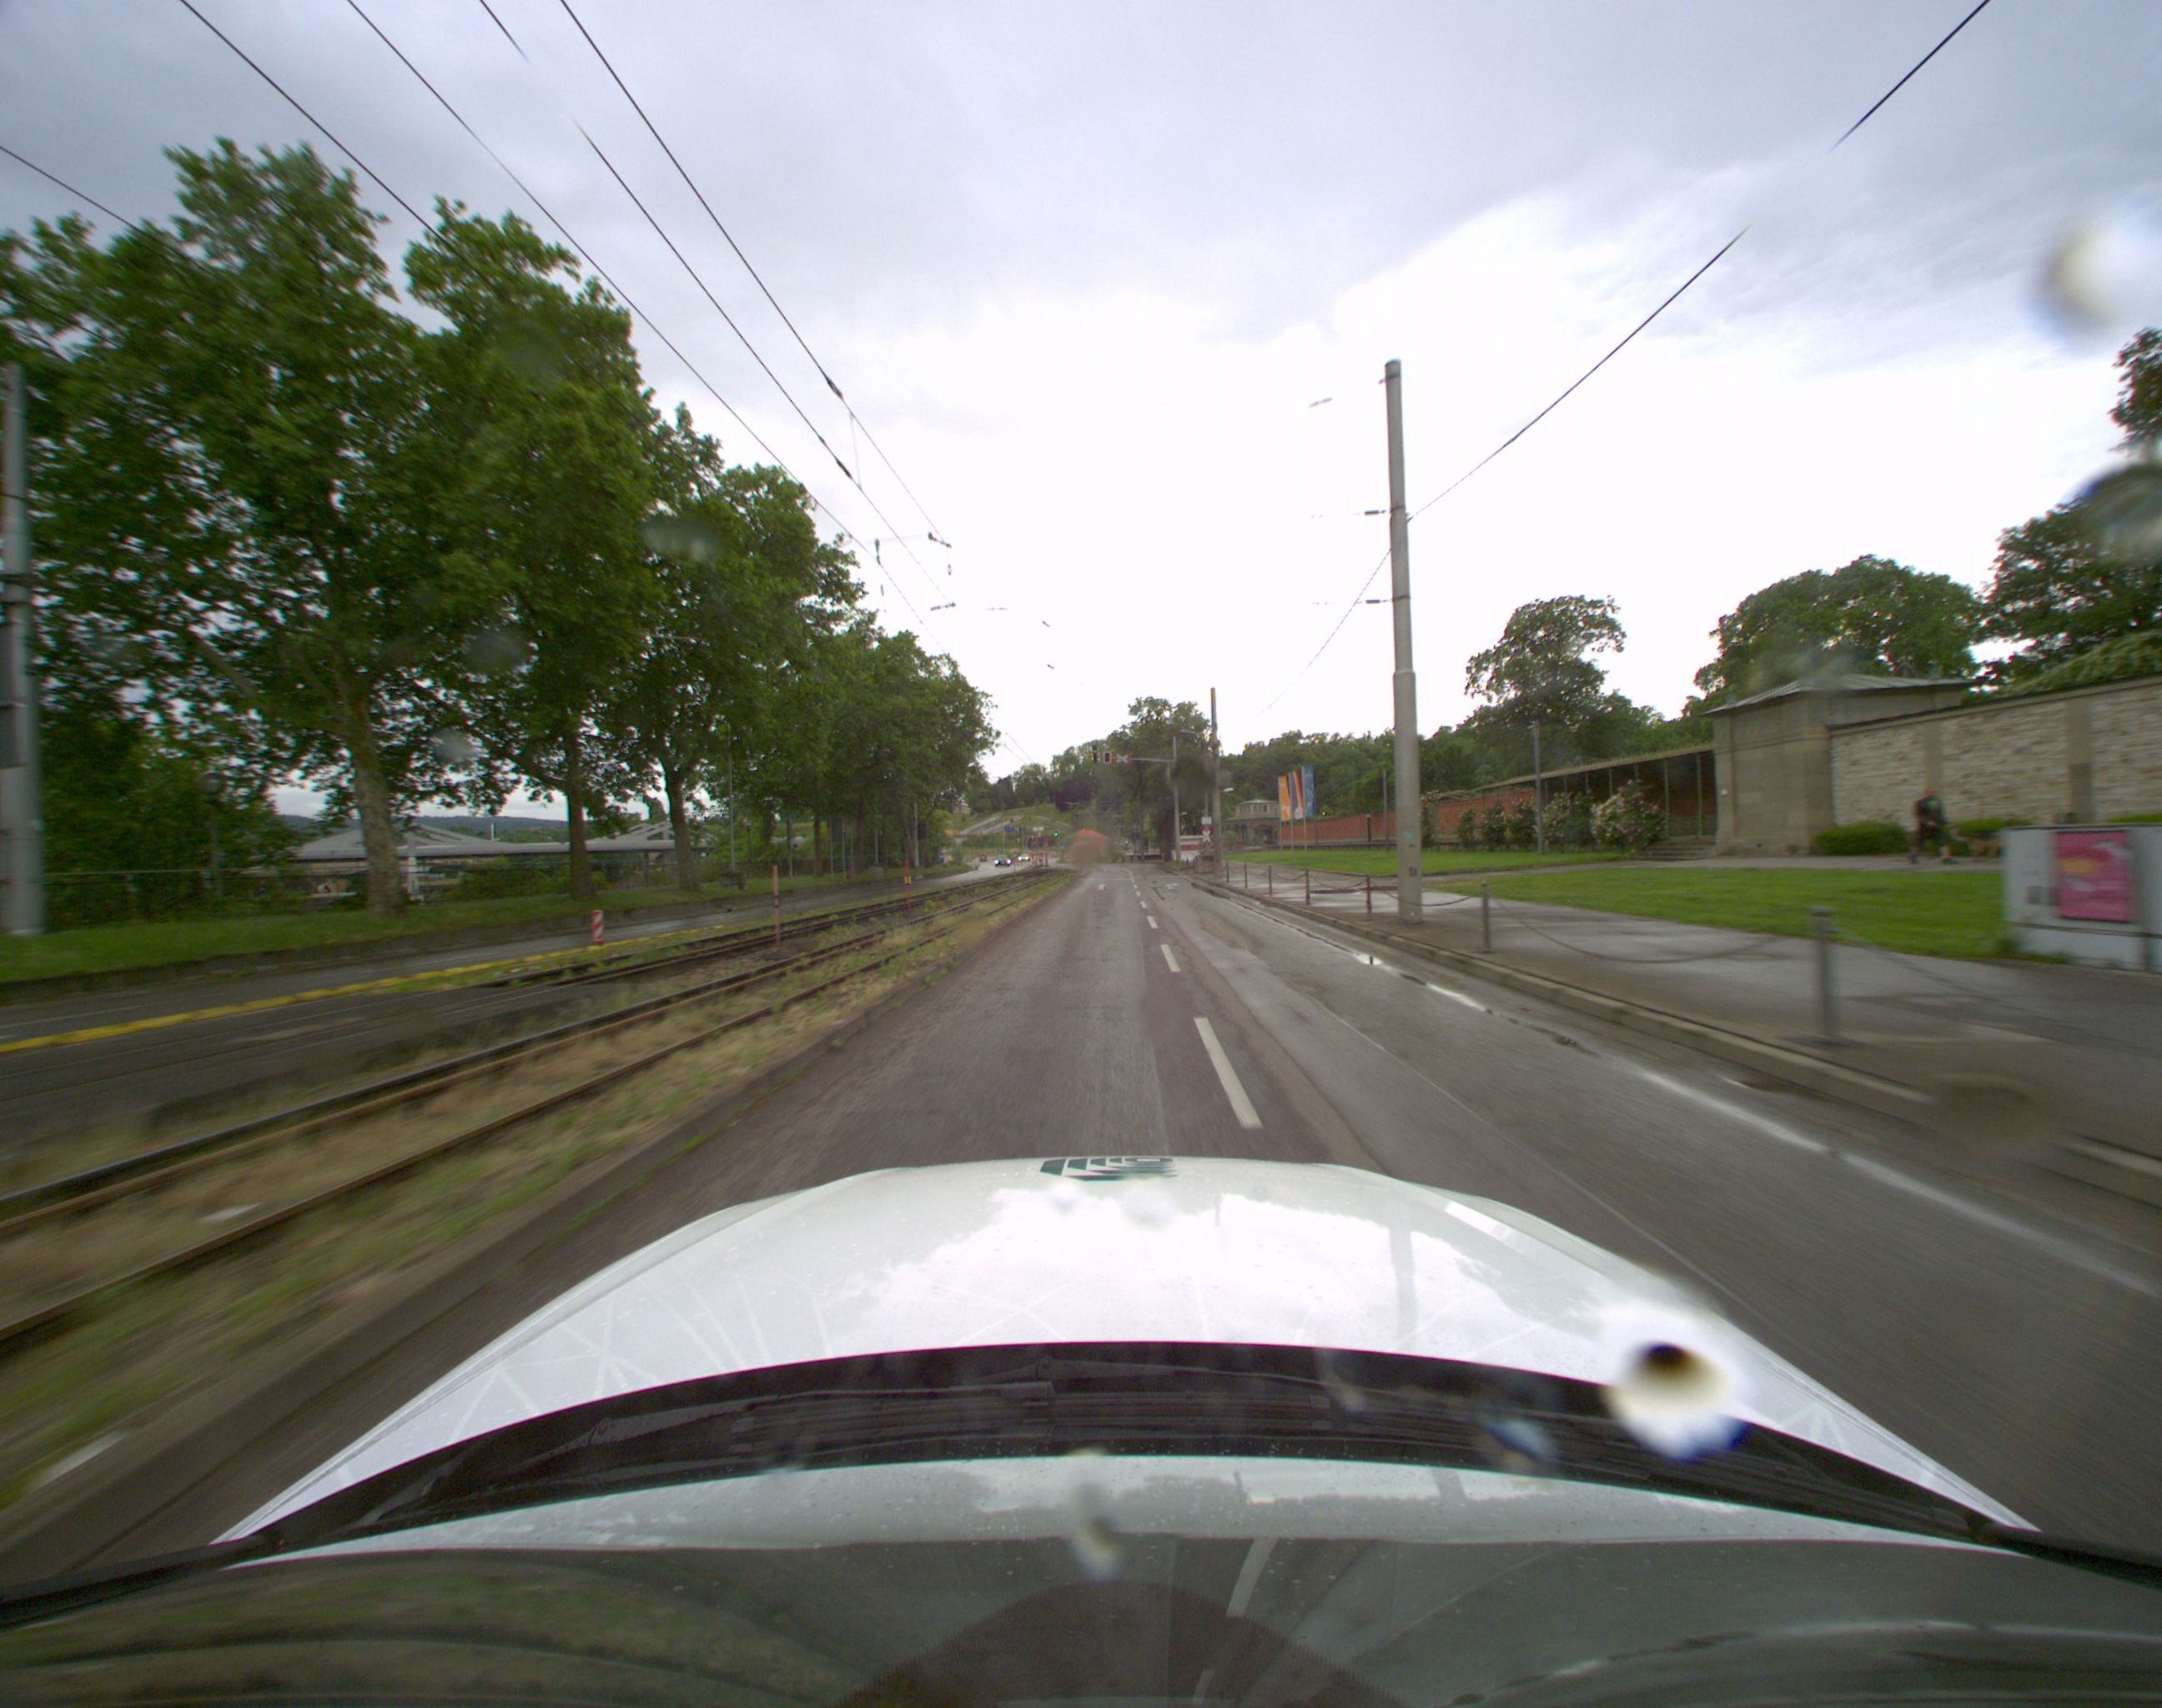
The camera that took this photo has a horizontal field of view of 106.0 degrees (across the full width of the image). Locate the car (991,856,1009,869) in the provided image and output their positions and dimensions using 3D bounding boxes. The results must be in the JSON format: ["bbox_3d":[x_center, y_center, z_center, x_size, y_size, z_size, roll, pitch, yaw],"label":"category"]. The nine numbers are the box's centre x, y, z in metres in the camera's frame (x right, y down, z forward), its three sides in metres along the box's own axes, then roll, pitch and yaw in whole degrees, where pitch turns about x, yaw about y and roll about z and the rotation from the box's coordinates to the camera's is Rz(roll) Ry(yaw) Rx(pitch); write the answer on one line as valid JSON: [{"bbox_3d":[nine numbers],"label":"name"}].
[{"bbox_3d":[-9.883,1.007,98.985,1.746,1.430,4.545,-3,-1,-10],"label":"car"}]

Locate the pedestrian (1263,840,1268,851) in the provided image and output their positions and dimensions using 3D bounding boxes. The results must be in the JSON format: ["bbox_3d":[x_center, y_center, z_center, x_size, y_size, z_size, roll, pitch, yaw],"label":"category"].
[{"bbox_3d":[28.385,-1.287,125.395,0.544,1.657,0.472,-3,-2,37],"label":"pedestrian"}]

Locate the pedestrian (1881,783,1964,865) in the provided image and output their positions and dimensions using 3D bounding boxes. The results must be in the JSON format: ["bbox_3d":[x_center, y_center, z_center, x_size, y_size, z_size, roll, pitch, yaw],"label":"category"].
[{"bbox_3d":[18.480,-0.635,17.902,0.725,1.711,0.982,-3,-1,3],"label":"pedestrian"}]

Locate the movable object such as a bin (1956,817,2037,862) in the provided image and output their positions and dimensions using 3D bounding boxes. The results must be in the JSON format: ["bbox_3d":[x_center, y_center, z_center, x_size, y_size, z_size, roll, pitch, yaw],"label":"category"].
[{"bbox_3d":[18.999,-0.283,16.933,0.340,0.872,1.192,-3,-1,3],"label":"movable object such as a bin"}]

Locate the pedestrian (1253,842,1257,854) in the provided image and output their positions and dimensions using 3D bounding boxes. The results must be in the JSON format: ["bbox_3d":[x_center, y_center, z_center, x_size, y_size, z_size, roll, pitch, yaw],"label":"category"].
[{"bbox_3d":[27.038,-0.926,126.657,0.527,1.711,0.698,0,-2,14],"label":"pedestrian"}]
